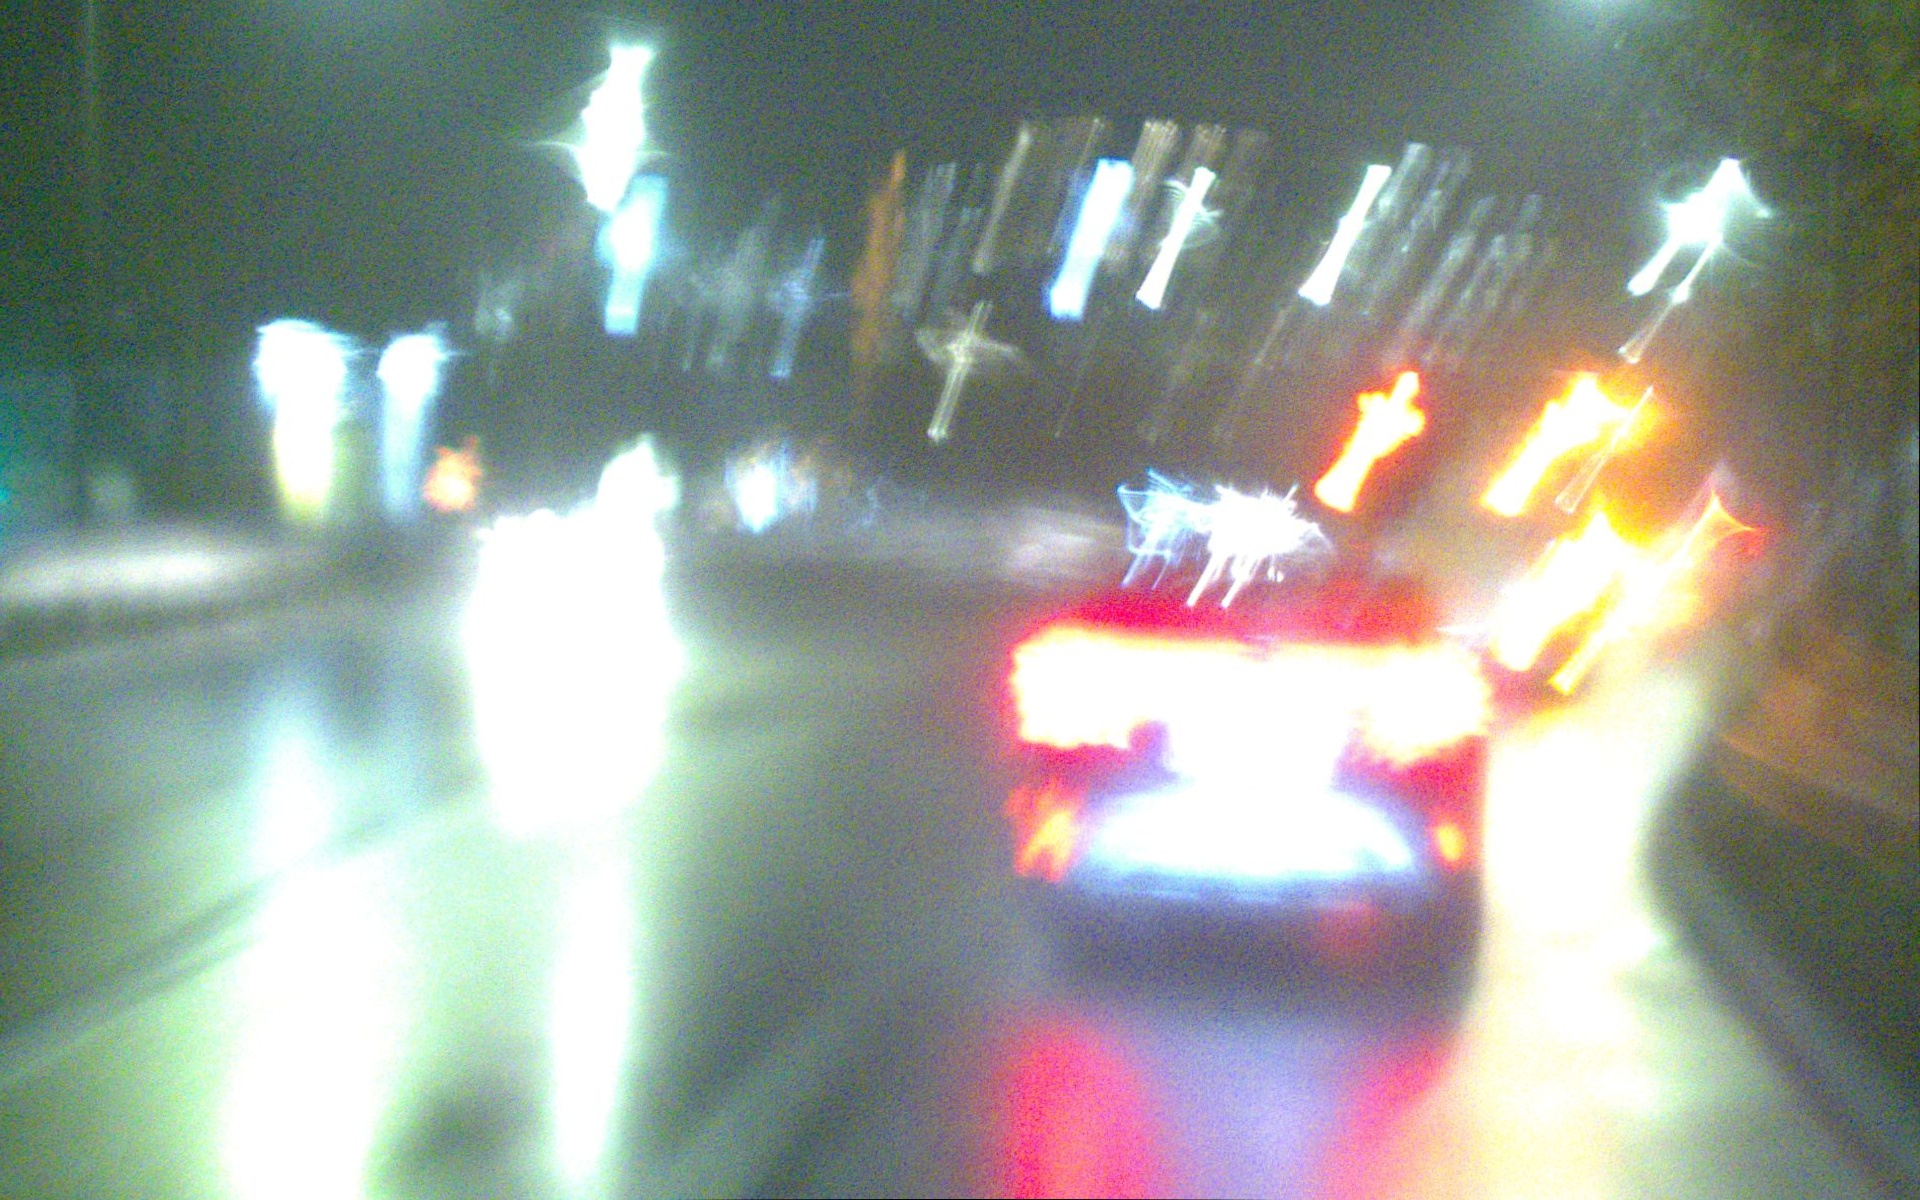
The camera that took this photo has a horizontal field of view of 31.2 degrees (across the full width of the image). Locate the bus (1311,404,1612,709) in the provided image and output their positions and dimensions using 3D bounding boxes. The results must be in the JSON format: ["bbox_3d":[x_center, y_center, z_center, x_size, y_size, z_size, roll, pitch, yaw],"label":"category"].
[{"bbox_3d":[6.197,-0.488,41.215,3.045,3.201,9.046,-1,0,11],"label":"bus"}]

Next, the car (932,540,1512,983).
[{"bbox_3d":[1.081,0.539,13.862,1.994,1.519,3.999,0,0,5],"label":"car"}]

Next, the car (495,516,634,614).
[{"bbox_3d":[-6.413,-0.579,56.090,1.826,1.498,4.188,1,1,-1],"label":"car"}]
